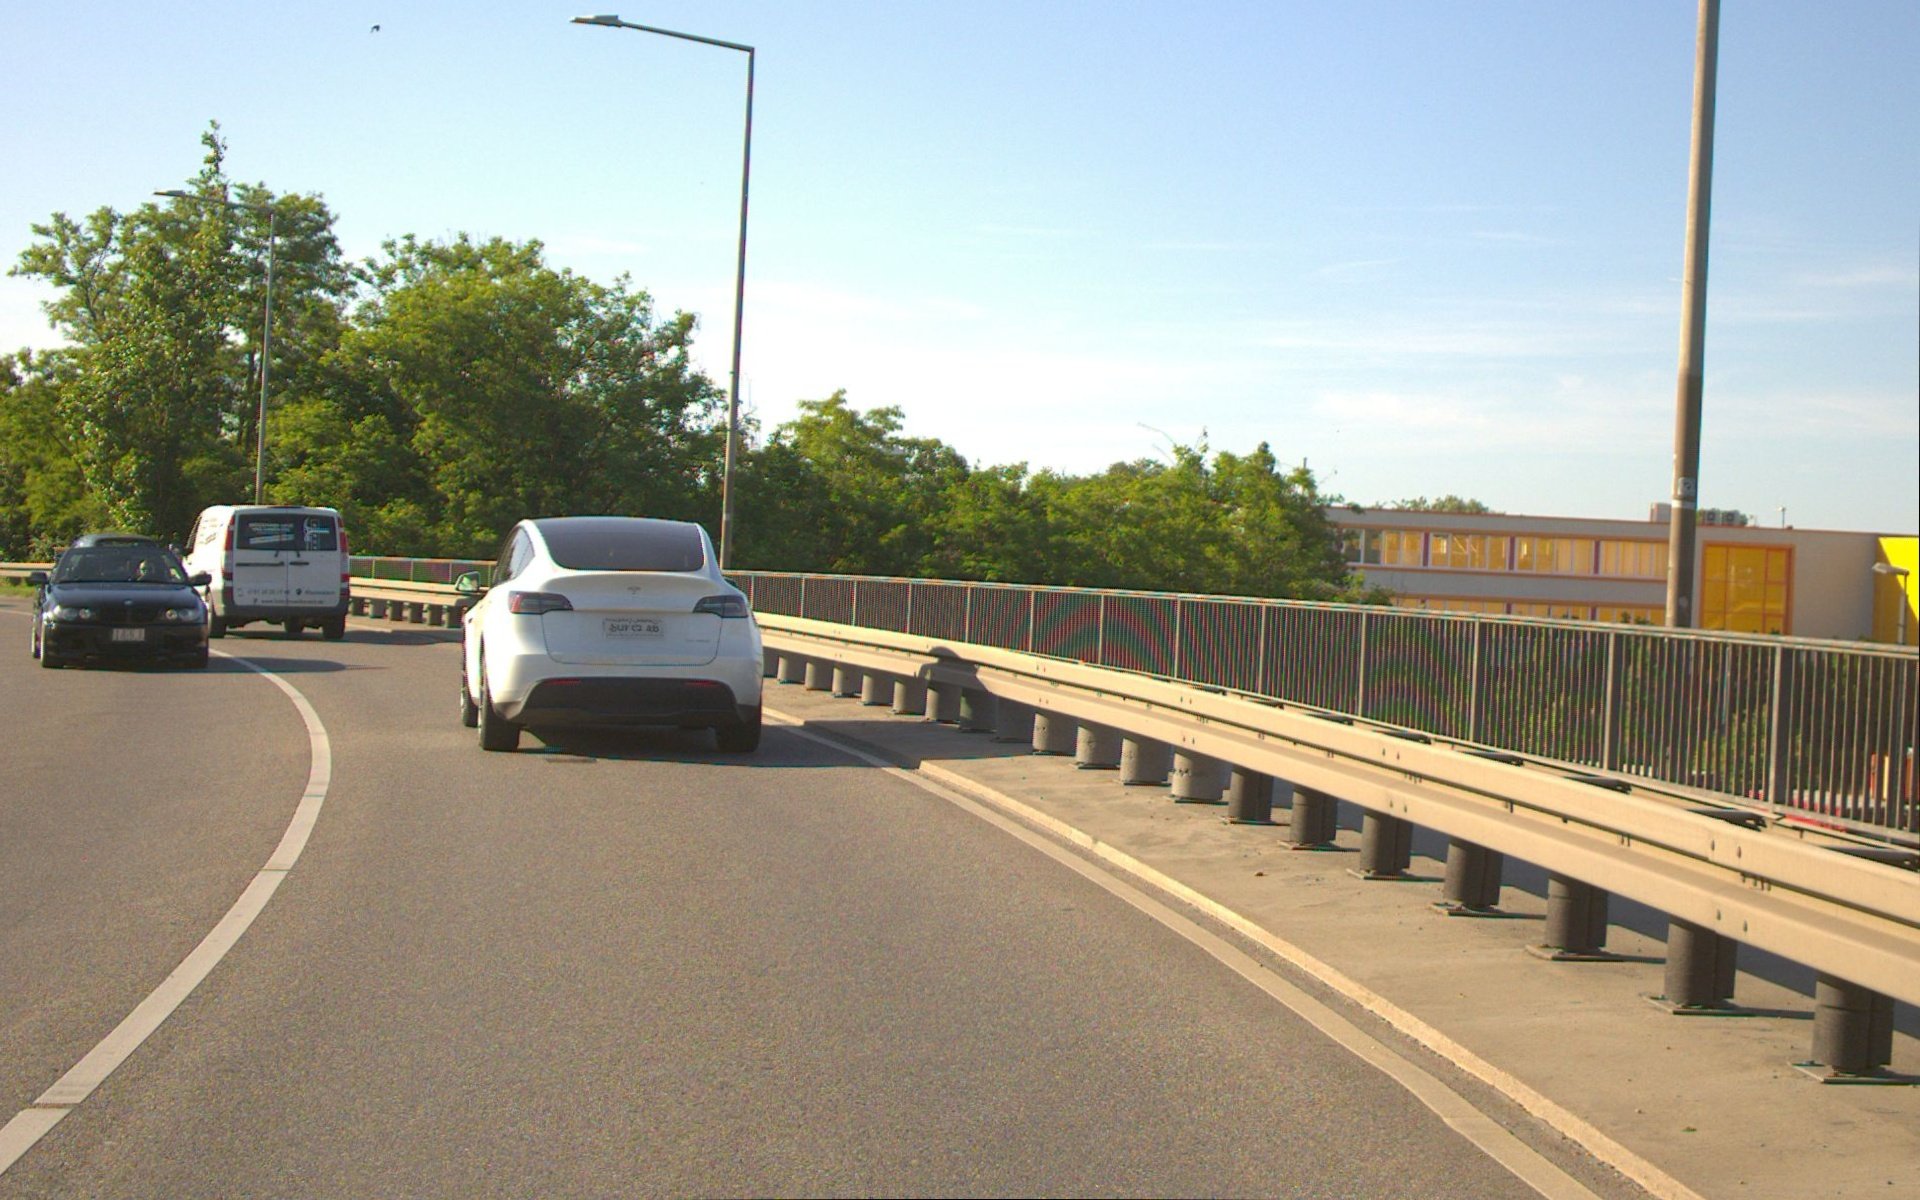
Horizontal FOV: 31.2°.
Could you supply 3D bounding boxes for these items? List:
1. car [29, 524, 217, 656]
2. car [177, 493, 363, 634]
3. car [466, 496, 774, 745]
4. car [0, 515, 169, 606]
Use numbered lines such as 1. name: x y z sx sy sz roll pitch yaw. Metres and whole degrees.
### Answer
1. car: -9.265 -0.142 37.850 1.744 1.350 4.184 0 1 -17
2. car: -9.955 -0.552 49.333 2.004 1.934 4.469 0 1 -19
3. car: -2.523 0.105 24.658 1.985 1.632 4.064 0 1 -9
4. car: -16.491 -0.745 64.100 1.969 1.632 3.999 -1 1 -36
